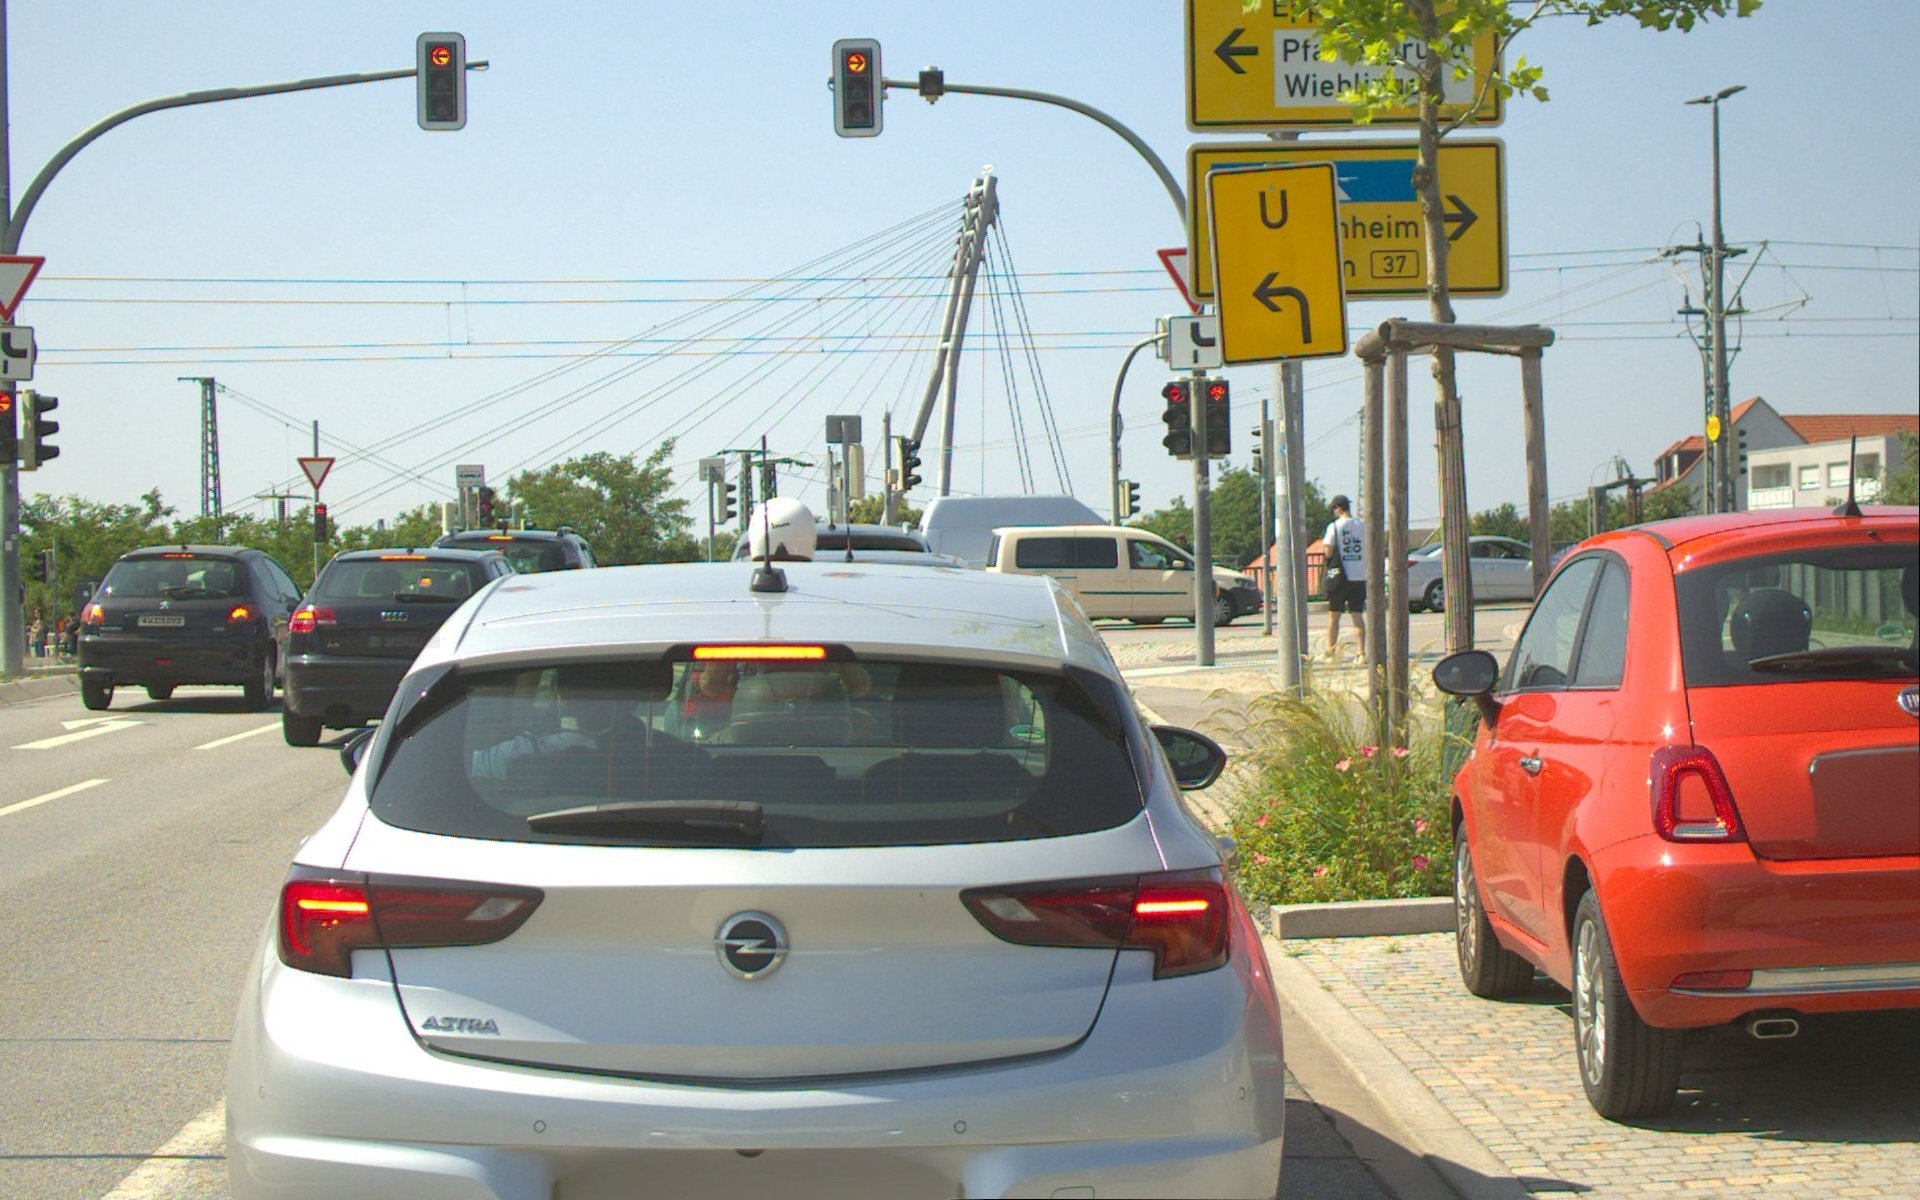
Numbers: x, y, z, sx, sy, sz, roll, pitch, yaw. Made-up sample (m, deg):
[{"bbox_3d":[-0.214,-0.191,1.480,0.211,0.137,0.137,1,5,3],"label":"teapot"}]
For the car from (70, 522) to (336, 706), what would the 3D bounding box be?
[{"bbox_3d":[-6.773,0.099,31.078,1.597,1.542,3.762,1,1,-1],"label":"car"}]

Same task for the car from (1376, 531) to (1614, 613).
[{"bbox_3d":[10.055,-0.524,64.785,3.986,1.477,2.001,1,1,-9],"label":"car"}]

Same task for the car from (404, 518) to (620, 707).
[{"bbox_3d":[-4.054,0.087,31.591,1.649,1.610,3.821,1,1,-3],"label":"car"}]

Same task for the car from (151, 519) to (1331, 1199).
[{"bbox_3d":[-0.430,0.607,7.125,1.742,1.473,4.001,1,1,-3],"label":"car"}]

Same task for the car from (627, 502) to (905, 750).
[{"bbox_3d":[-1.272,0.111,23.963,1.724,1.558,4.000,1,2,0],"label":"car"}]

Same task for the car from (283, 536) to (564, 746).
[{"bbox_3d":[-3.921,0.267,25.643,1.575,1.429,3.786,1,1,-1],"label":"car"}]

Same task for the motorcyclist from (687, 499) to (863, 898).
[{"bbox_3d":[-0.655,0.340,12.335,0.581,1.384,0.707,1,0,-1],"label":"motorcyclist"}]

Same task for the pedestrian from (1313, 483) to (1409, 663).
[{"bbox_3d":[4.128,-0.279,35.381,0.648,1.830,0.796,0,1,38],"label":"pedestrian"}]

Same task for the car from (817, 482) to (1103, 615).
[{"bbox_3d":[-0.022,-0.924,62.604,4.999,2.368,1.784,0,0,-8],"label":"car"}]

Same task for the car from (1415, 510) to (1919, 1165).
[{"bbox_3d":[2.328,0.518,9.751,1.610,1.491,3.352,-2,1,1],"label":"car"}]

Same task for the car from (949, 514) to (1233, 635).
[{"bbox_3d":[2.253,-0.447,59.853,4.701,2.007,2.000,1,0,-5],"label":"car"}]

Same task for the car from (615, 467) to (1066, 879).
[{"bbox_3d":[-0.560,0.269,17.566,1.993,1.814,4.402,1,2,-1],"label":"car"}]
